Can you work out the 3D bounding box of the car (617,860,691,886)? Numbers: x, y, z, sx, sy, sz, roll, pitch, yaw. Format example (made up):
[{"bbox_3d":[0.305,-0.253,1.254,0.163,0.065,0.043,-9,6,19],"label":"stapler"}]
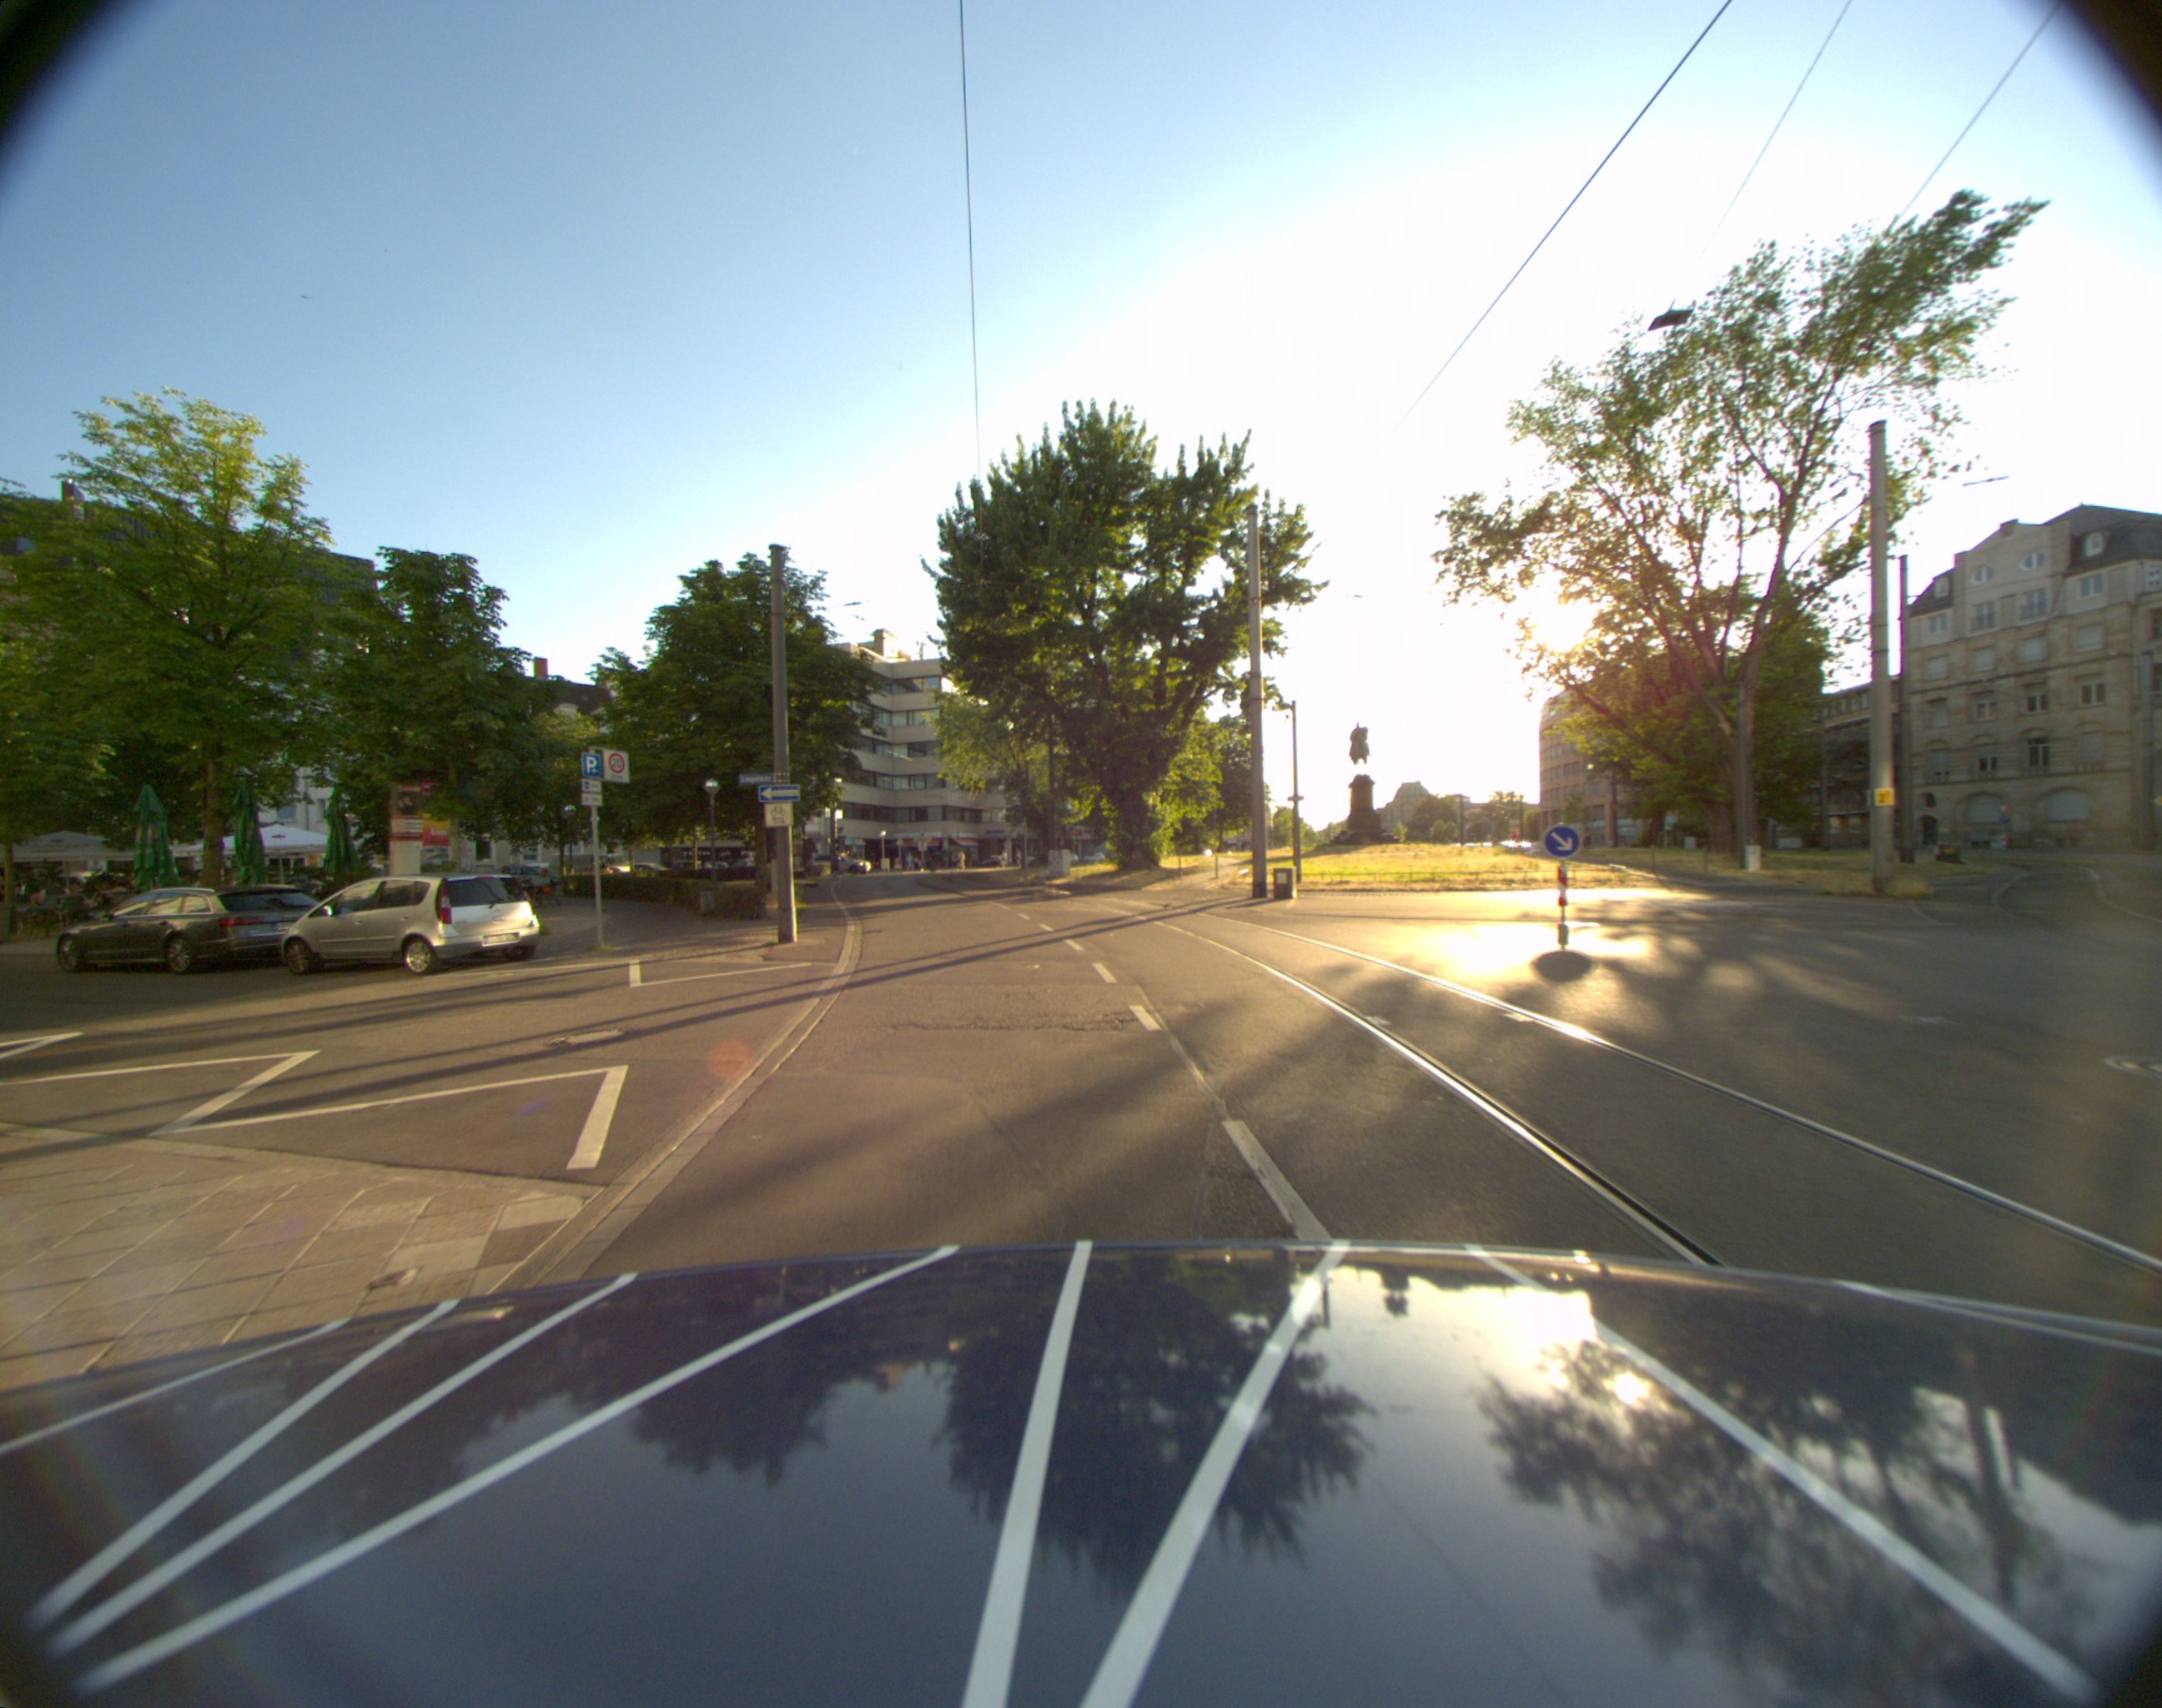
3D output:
[{"bbox_3d":[-29.616,1.308,52.744,3.995,1.595,1.953,-3,1,6],"label":"car"}]

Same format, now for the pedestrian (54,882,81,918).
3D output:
[{"bbox_3d":[-32.713,1.467,24.530,0.529,1.111,0.459,-1,2,36],"label":"pedestrian"}]

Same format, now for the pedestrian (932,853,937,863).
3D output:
[{"bbox_3d":[-17.641,0.506,91.430,0.460,1.188,0.421,3,2,16],"label":"pedestrian"}]

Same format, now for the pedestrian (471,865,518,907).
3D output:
[{"bbox_3d":[-20.026,1.071,25.960,0.730,1.348,1.017,0,2,29],"label":"pedestrian"}]

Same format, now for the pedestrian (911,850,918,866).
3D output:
[{"bbox_3d":[-18.811,0.426,85.879,0.604,1.828,0.573,2,2,-16],"label":"pedestrian"}]

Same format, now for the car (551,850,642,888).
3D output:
[{"bbox_3d":[-32.089,0.984,50.366,4.873,2.228,2.096,-2,1,12],"label":"car"}]

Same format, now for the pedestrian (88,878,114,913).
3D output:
[{"bbox_3d":[-32.381,1.350,25.110,0.556,1.111,0.459,-1,2,36],"label":"pedestrian"}]

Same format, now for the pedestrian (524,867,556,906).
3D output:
[{"bbox_3d":[-17.804,1.065,25.004,0.567,1.237,0.614,-1,2,25],"label":"pedestrian"}]

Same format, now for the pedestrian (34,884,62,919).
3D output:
[{"bbox_3d":[-34.246,1.552,25.181,0.556,1.111,0.494,-1,2,36],"label":"pedestrian"}]

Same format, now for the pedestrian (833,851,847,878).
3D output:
[{"bbox_3d":[-16.052,0.705,50.606,0.588,1.733,0.643,-2,0,5],"label":"pedestrian"}]

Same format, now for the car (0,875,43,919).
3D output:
[{"bbox_3d":[-46.555,1.882,32.704,3.989,1.763,1.916,-2,1,33],"label":"car"}]

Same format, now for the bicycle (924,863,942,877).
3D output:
[{"bbox_3d":[-12.205,1.282,62.629,0.937,1.070,2.217,-3,1,-23],"label":"bicycle"}]

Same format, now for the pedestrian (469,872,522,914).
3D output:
[{"bbox_3d":[-18.288,1.202,23.767,0.779,1.236,0.989,-2,1,12],"label":"pedestrian"}]

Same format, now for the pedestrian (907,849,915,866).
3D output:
[{"bbox_3d":[-19.338,0.390,86.383,0.537,1.828,0.619,0,3,-43],"label":"pedestrian"}]

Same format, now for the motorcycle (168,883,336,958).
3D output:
[{"bbox_3d":[-18.100,1.412,16.690,2.247,1.360,0.949,-4,2,-33],"label":"motorcycle"}]

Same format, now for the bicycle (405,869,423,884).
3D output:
[{"bbox_3d":[-34.734,1.163,39.545,1.271,0.775,0.447,0,2,38],"label":"bicycle"}]

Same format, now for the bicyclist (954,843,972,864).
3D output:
[{"bbox_3d":[-11.734,-0.055,75.815,1.234,1.980,1.368,-2,1,18],"label":"bicyclist"}]

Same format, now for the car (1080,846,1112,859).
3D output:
[{"bbox_3d":[2.200,-0.233,107.640,1.994,1.596,4.532,-2,1,43],"label":"car"}]

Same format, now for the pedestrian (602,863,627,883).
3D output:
[{"bbox_3d":[-29.174,1.181,47.531,1.367,1.219,0.963,-2,1,43],"label":"pedestrian"}]

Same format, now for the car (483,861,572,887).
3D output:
[{"bbox_3d":[-34.735,1.257,47.769,3.997,1.390,1.999,-3,1,-1],"label":"car"}]

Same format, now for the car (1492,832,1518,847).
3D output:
[{"bbox_3d":[60.873,-2.119,109.127,1.996,2.002,4.552,-2,1,14],"label":"car"}]

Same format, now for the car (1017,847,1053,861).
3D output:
[{"bbox_3d":[-5.888,0.023,97.648,1.994,1.596,4.532,-2,1,43],"label":"car"}]

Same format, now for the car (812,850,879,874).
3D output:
[{"bbox_3d":[-19.271,0.660,62.282,4.704,1.761,2.001,-2,1,7],"label":"car"}]

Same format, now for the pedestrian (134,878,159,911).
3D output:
[{"bbox_3d":[-33.152,1.429,26.957,0.556,1.111,0.494,-1,2,36],"label":"pedestrian"}]

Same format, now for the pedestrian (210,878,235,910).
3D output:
[{"bbox_3d":[-31.031,1.423,27.459,0.556,1.111,0.494,-1,2,36],"label":"pedestrian"}]

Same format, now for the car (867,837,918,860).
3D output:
[{"bbox_3d":[-22.324,-0.657,90.005,5.424,2.712,2.183,0,1,13],"label":"car"}]

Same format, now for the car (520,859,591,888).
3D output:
[{"bbox_3d":[-39.624,1.447,57.369,1.946,1.875,4.007,2,3,41],"label":"car"}]

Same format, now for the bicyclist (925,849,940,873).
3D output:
[{"bbox_3d":[-12.295,0.566,62.731,0.925,1.962,1.111,-3,1,-22],"label":"bicyclist"}]

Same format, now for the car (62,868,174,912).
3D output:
[{"bbox_3d":[-43.779,1.637,34.553,3.991,1.763,1.915,-2,1,20],"label":"car"}]

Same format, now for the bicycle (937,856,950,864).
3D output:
[{"bbox_3d":[-16.462,0.728,90.861,1.447,0.987,0.530,0,3,-11],"label":"bicycle"}]

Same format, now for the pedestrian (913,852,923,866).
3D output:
[{"bbox_3d":[-18.209,0.594,84.893,0.568,1.528,0.794,1,3,44],"label":"pedestrian"}]

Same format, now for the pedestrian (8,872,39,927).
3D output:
[{"bbox_3d":[-33.119,1.408,23.800,0.329,1.676,0.388,-2,2,-18],"label":"pedestrian"}]

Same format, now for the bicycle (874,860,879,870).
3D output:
[{"bbox_3d":[-21.286,1.119,79.018,0.303,0.987,1.292,-3,1,-23],"label":"bicycle"}]

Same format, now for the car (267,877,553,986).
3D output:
[{"bbox_3d":[-10.834,1.197,12.356,3.570,1.505,1.741,-1,1,15],"label":"car"}]

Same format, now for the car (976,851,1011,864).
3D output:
[{"bbox_3d":[-10.638,0.403,92.202,1.790,1.434,4.007,-2,1,42],"label":"car"}]

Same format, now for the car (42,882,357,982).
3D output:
[{"bbox_3d":[-15.612,1.330,13.496,4.664,1.505,1.741,-1,1,15],"label":"car"}]

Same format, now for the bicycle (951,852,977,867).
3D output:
[{"bbox_3d":[-11.682,0.528,75.984,1.270,1.353,3.244,-2,1,18],"label":"bicycle"}]

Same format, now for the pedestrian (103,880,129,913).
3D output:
[{"bbox_3d":[-33.502,1.467,26.384,0.556,1.111,0.494,-1,2,36],"label":"pedestrian"}]

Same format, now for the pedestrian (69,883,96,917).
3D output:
[{"bbox_3d":[-33.882,1.562,25.775,0.556,1.111,0.494,-1,2,36],"label":"pedestrian"}]
